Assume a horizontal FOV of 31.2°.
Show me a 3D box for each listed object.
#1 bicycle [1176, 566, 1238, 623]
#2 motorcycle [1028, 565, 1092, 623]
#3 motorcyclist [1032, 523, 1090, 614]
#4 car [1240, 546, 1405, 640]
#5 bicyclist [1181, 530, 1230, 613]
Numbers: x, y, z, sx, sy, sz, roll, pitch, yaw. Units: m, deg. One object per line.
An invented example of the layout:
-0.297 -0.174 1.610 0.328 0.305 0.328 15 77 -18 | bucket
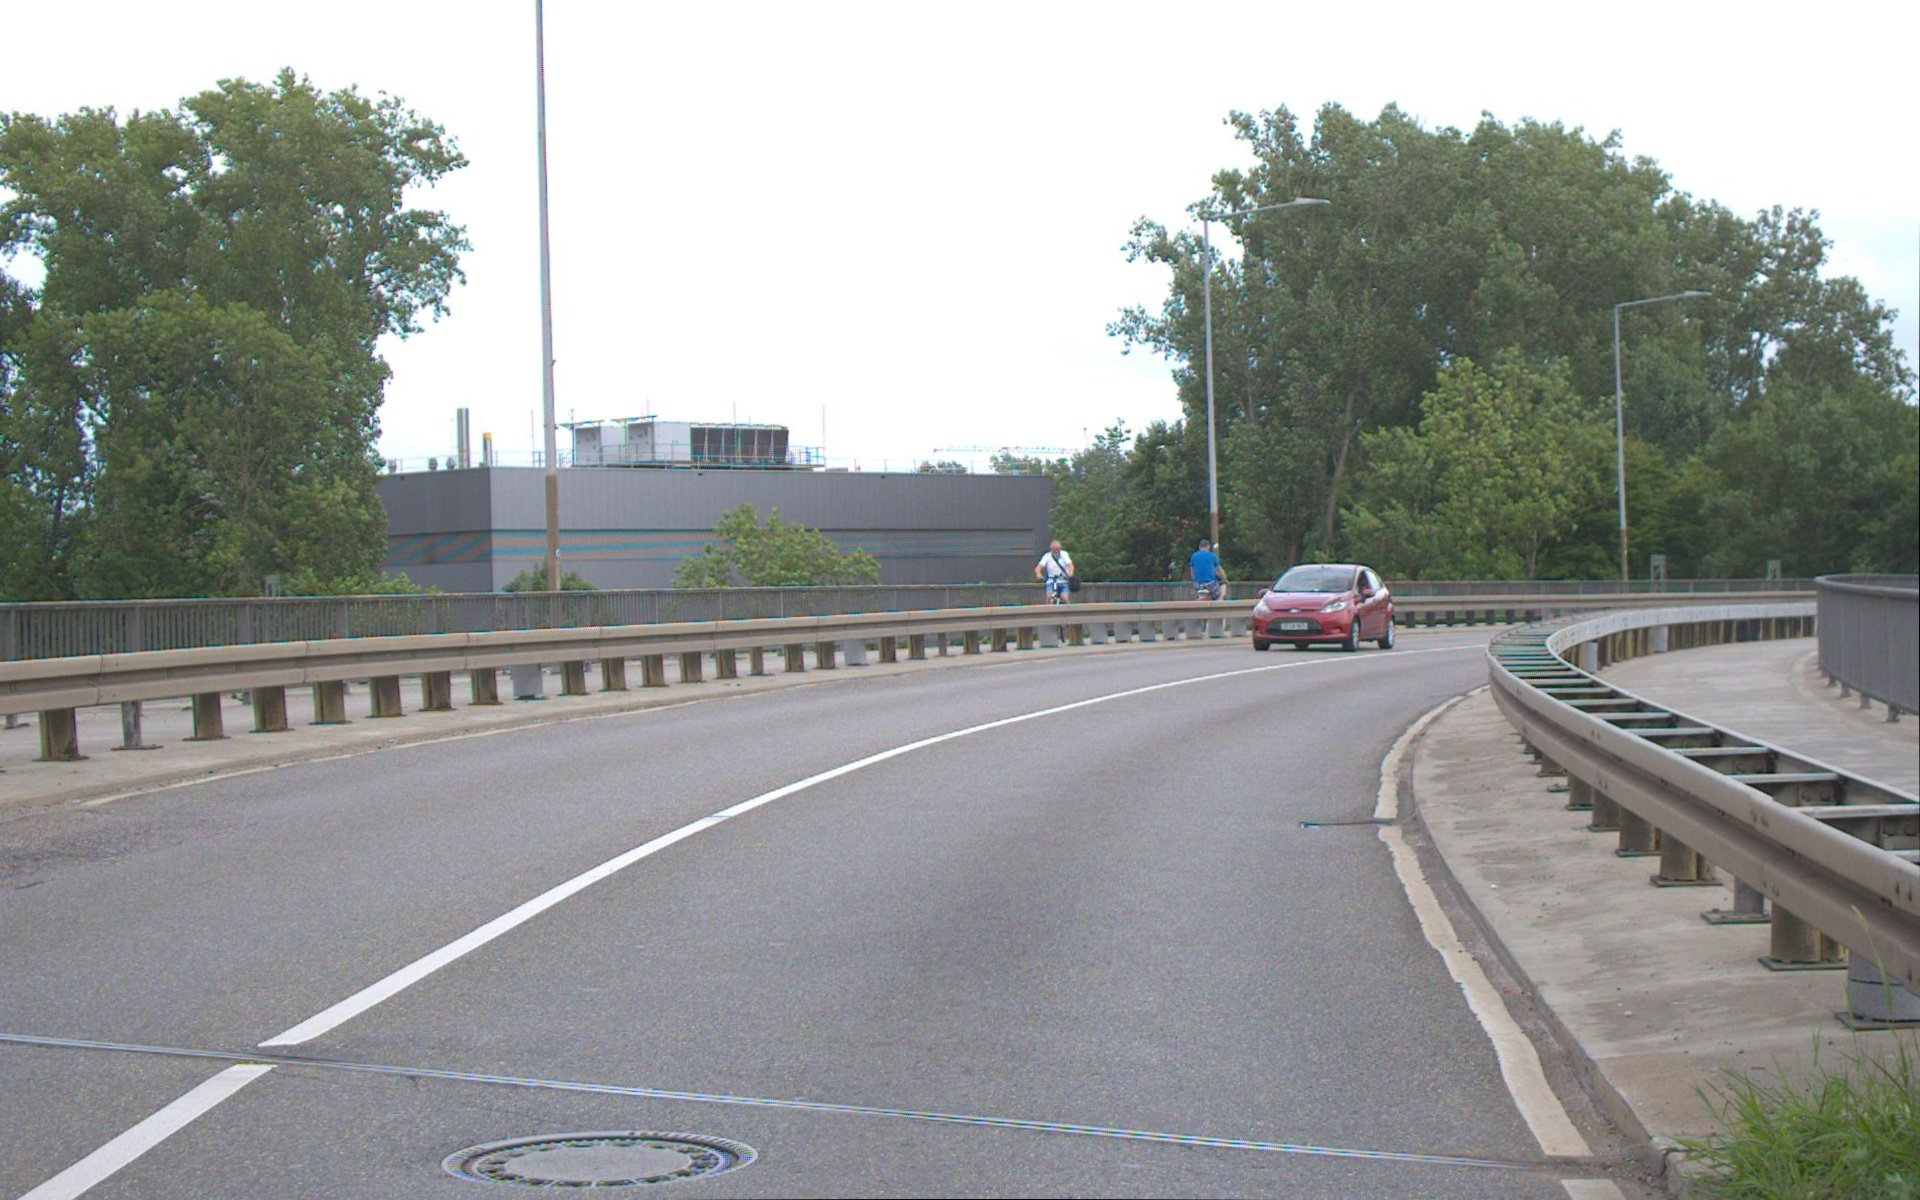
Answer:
4.595 -0.103 63.781 0.493 1.042 1.807 0 0 27 | bicycle
1.698 -0.110 57.943 0.626 0.960 1.838 0 0 17 | motorcycle
1.708 -0.534 58.003 0.810 1.524 0.824 0 0 15 | motorcyclist
6.006 -0.122 56.618 1.761 1.487 3.996 0 0 21 | car
4.554 -0.526 63.766 0.611 1.535 0.756 0 0 31 | bicyclist
